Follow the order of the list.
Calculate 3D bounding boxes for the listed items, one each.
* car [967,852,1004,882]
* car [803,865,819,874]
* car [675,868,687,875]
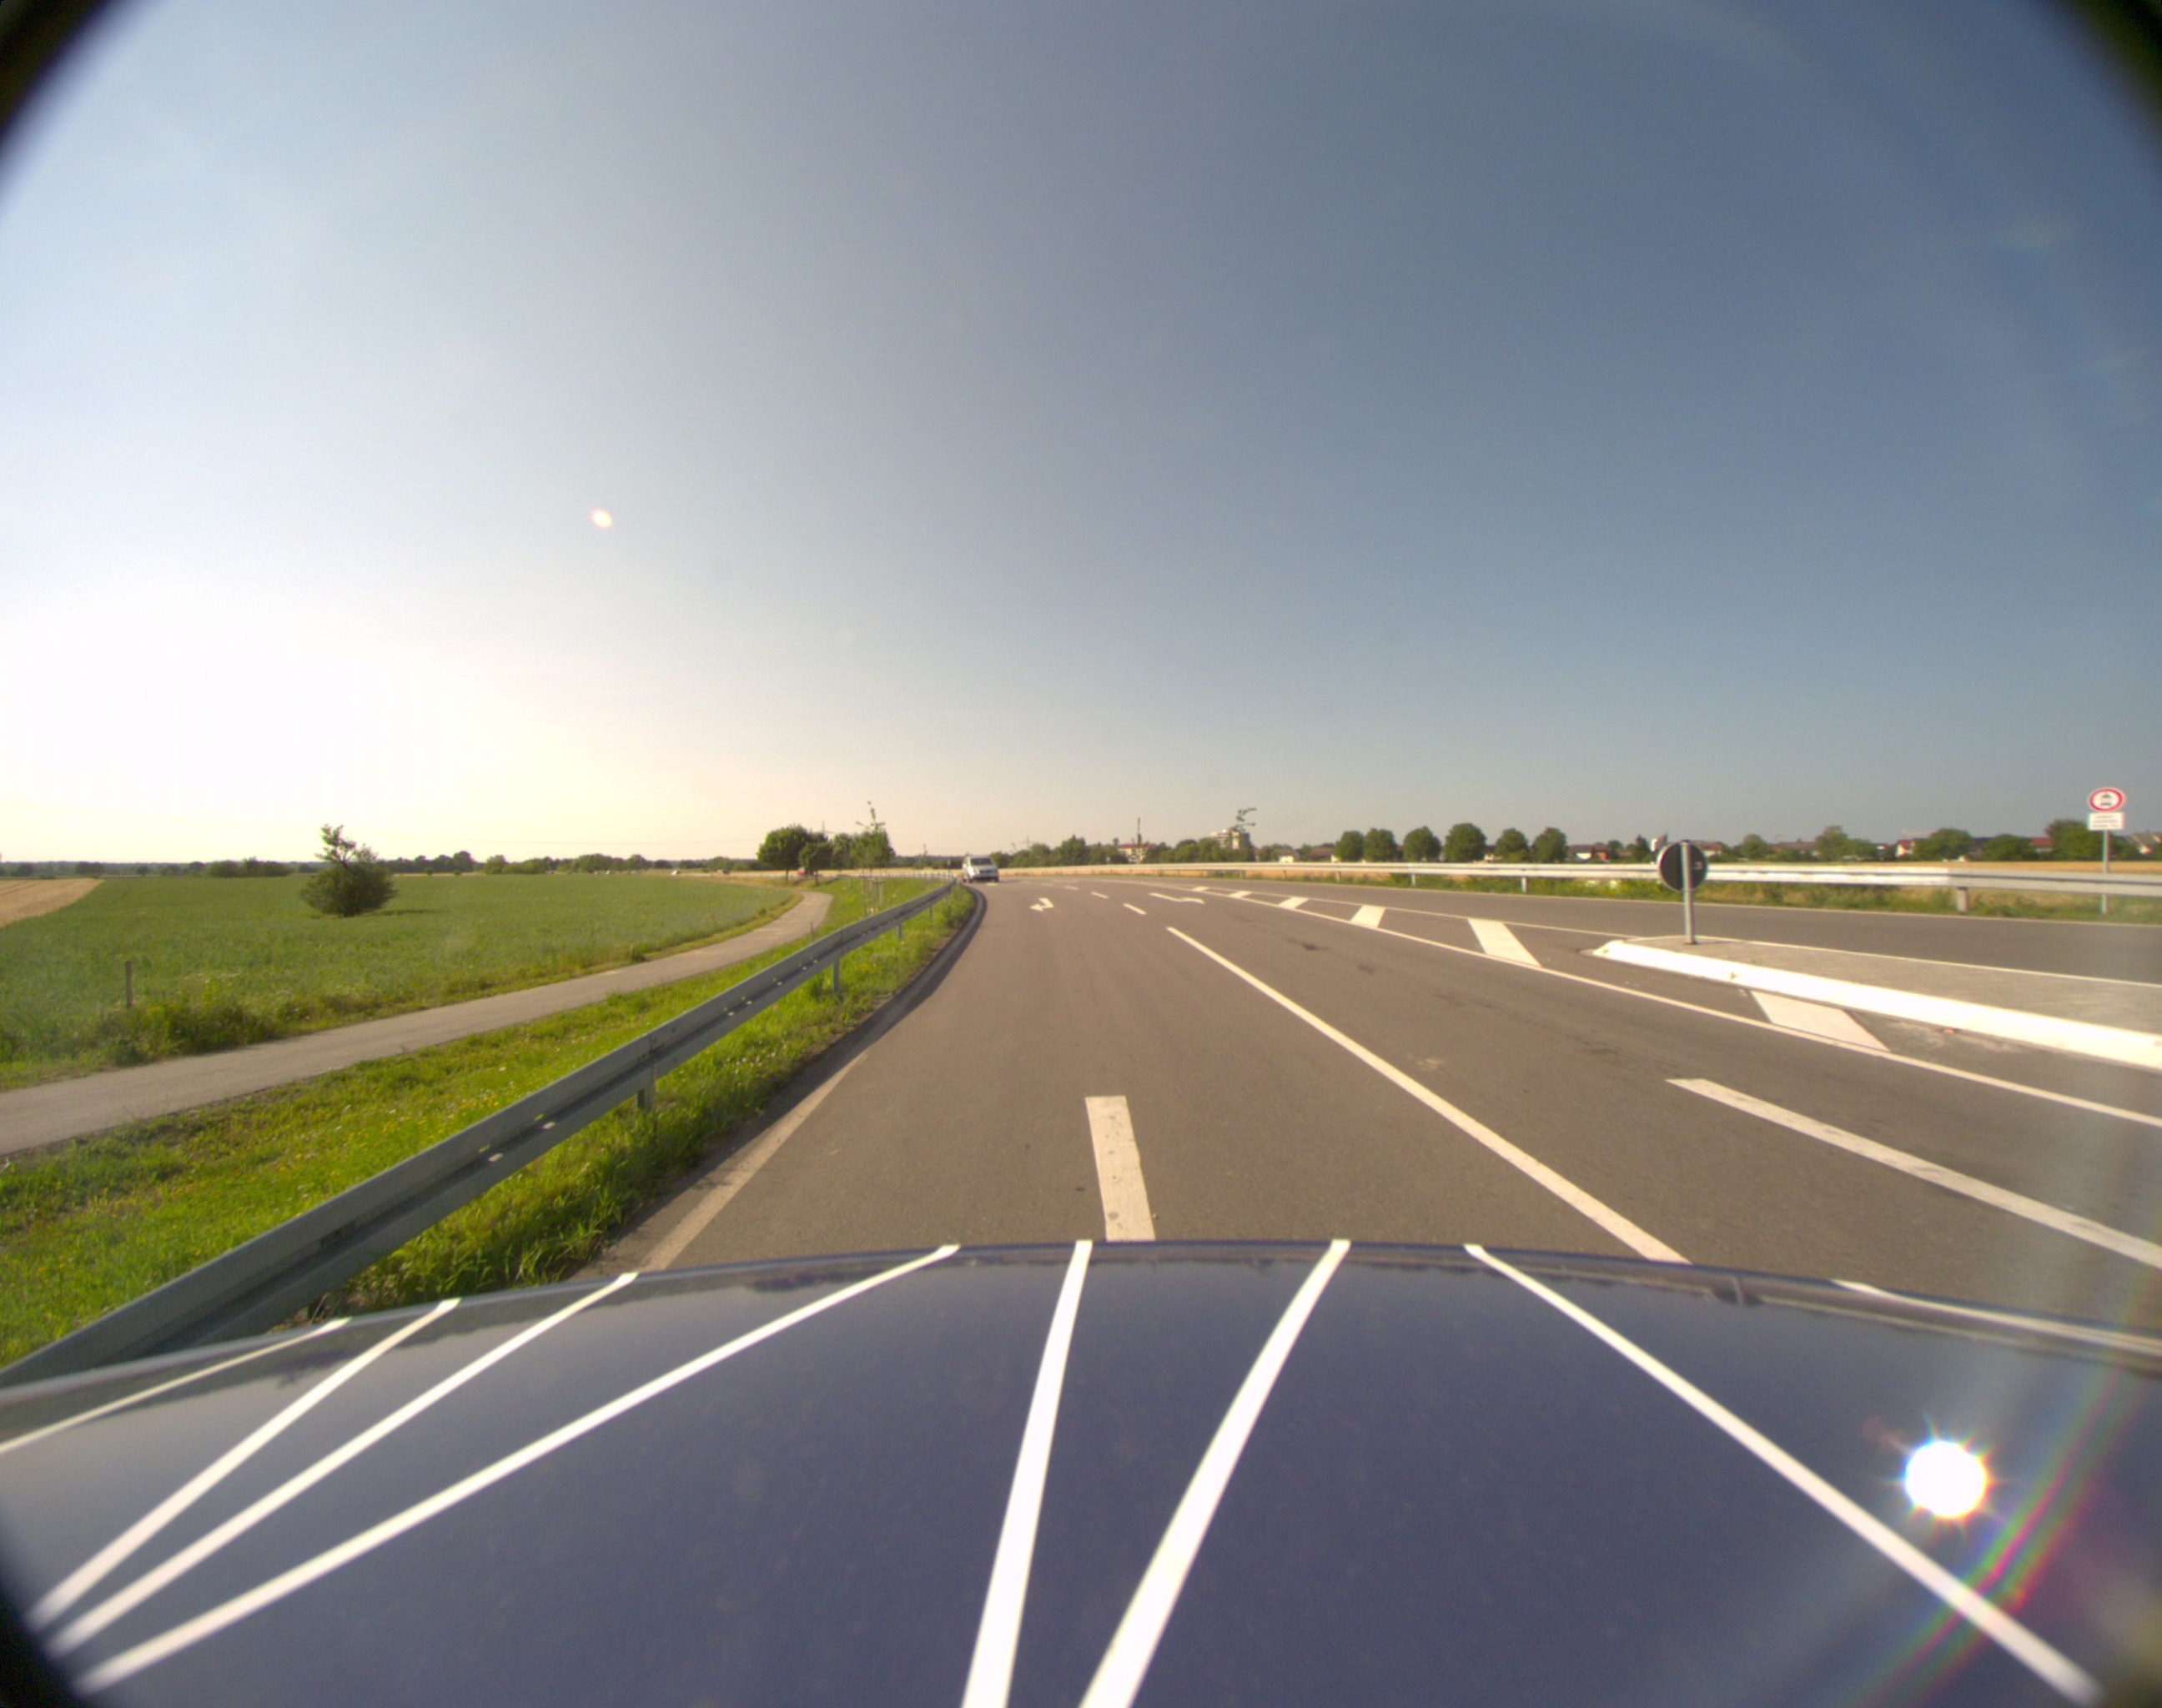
[{"bbox_3d":[-5.847,0.736,46.051,1.757,1.685,4.210,-3,1,-13],"label":"car"},{"bbox_3d":[-50.571,2.930,142.310,1.818,1.663,3.990,-3,1,-35],"label":"car"},{"bbox_3d":[-113.399,5.010,215.547,2.004,1.746,3.989,-1,-1,-42],"label":"car"}]
